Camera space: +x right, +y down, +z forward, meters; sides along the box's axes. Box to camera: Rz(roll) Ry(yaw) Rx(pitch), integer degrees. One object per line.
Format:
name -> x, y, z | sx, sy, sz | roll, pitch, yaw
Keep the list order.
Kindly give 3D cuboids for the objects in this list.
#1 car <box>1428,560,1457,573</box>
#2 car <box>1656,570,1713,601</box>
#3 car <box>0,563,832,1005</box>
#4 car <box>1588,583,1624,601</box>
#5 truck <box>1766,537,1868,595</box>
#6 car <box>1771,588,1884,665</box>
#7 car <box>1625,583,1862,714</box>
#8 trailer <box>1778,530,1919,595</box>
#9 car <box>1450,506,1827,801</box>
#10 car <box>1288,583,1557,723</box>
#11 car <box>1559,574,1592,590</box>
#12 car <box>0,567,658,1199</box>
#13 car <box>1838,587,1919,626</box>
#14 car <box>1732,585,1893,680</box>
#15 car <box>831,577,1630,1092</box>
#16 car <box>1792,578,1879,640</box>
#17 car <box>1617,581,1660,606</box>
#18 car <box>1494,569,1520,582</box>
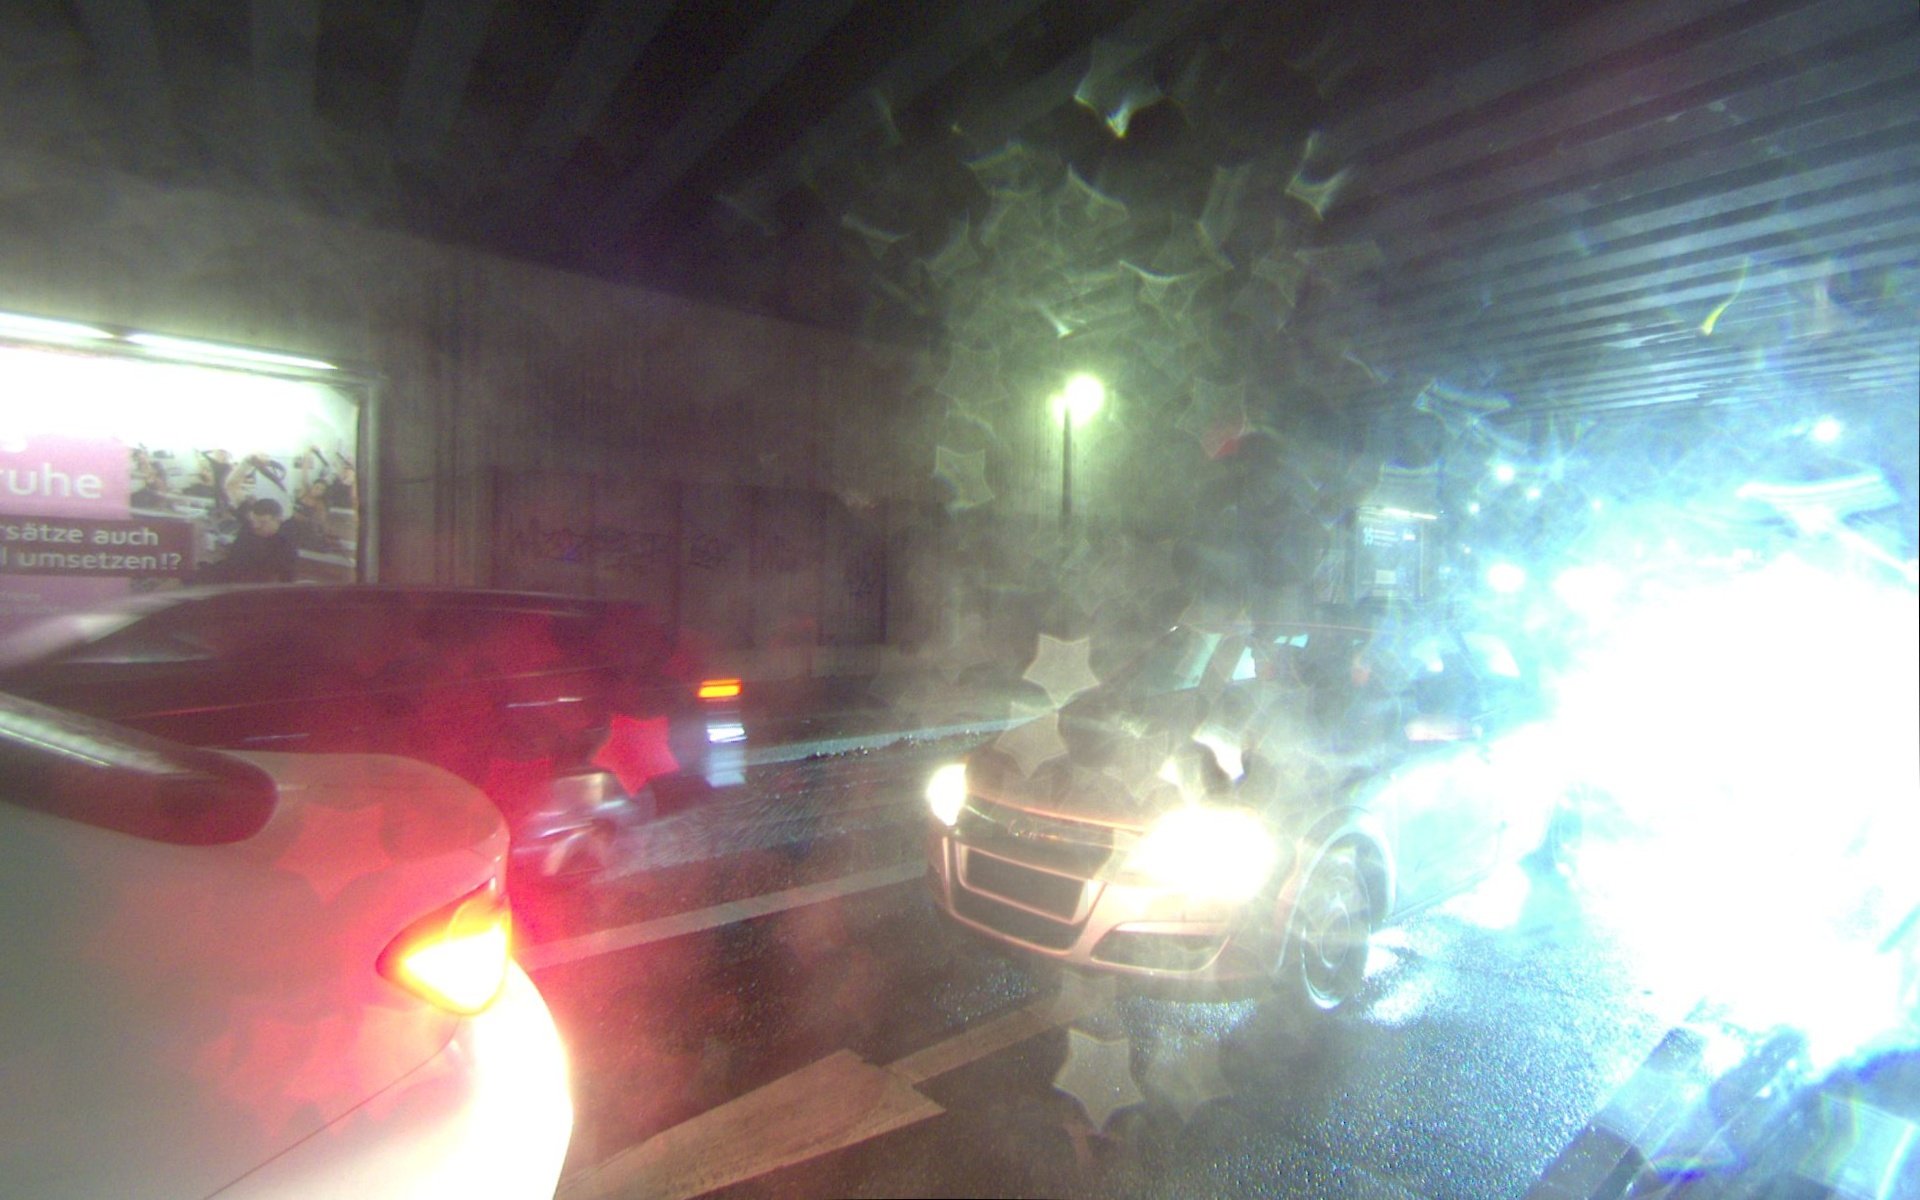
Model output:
car -> 68.160, -4.707, 142.951 | 1.935, 1.763, 4.915 | 0, 0, 3
car -> 35.539, -0.737, 49.755 | 1.838, 1.449, 4.455 | 0, 2, 30
car -> -2.997, 0.608, 5.000 | 1.838, 1.497, 4.554 | 0, 0, 45
car -> 53.296, -0.655, 83.541 | 1.861, 1.490, 3.968 | 0, 0, 23
truck -> 65.798, -2.559, 77.905 | 3.920, 4.229, 6.335 | 0, 0, 20
car -> 18.718, 0.497, 21.785 | 1.678, 1.490, 3.938 | 0, 0, 43
car -> 10.739, 0.548, 13.789 | 3.701, 1.531, 1.867 | -1, 0, -41
trailer -> 63.805, -2.498, 72.350 | 3.920, 4.229, 13.830 | 0, 0, 20
car -> 6.475, 0.358, 9.466 | 4.274, 2.115, 1.996 | -1, 0, -43
car -> 6.239, 0.582, 13.354 | 1.848, 1.503, 4.556 | 2, 1, 44
car -> 59.879, -1.757, 98.531 | 1.858, 1.490, 3.975 | 0, 0, 19
car -> -2.683, 0.683, 0.986 | 4.273, 1.422, 1.719 | -1, 0, -41
car -> 38.483, 0.256, 42.319 | 1.839, 1.503, 4.437 | 1, 1, 30
car -> 15.335, 0.502, 18.139 | 3.930, 1.522, 1.628 | -1, 0, -41
car -> 1.531, 0.620, 4.810 | 3.931, 1.384, 1.791 | -2, 2, -41
car -> 24.554, 0.216, 28.341 | 1.737, 1.610, 3.939 | 0, 0, 42
car -> 42.876, -0.420, 64.024 | 1.865, 1.490, 3.961 | 0, 0, 28
car -> 65.855, -2.930, 121.860 | 1.855, 1.490, 3.982 | 0, 0, 14
